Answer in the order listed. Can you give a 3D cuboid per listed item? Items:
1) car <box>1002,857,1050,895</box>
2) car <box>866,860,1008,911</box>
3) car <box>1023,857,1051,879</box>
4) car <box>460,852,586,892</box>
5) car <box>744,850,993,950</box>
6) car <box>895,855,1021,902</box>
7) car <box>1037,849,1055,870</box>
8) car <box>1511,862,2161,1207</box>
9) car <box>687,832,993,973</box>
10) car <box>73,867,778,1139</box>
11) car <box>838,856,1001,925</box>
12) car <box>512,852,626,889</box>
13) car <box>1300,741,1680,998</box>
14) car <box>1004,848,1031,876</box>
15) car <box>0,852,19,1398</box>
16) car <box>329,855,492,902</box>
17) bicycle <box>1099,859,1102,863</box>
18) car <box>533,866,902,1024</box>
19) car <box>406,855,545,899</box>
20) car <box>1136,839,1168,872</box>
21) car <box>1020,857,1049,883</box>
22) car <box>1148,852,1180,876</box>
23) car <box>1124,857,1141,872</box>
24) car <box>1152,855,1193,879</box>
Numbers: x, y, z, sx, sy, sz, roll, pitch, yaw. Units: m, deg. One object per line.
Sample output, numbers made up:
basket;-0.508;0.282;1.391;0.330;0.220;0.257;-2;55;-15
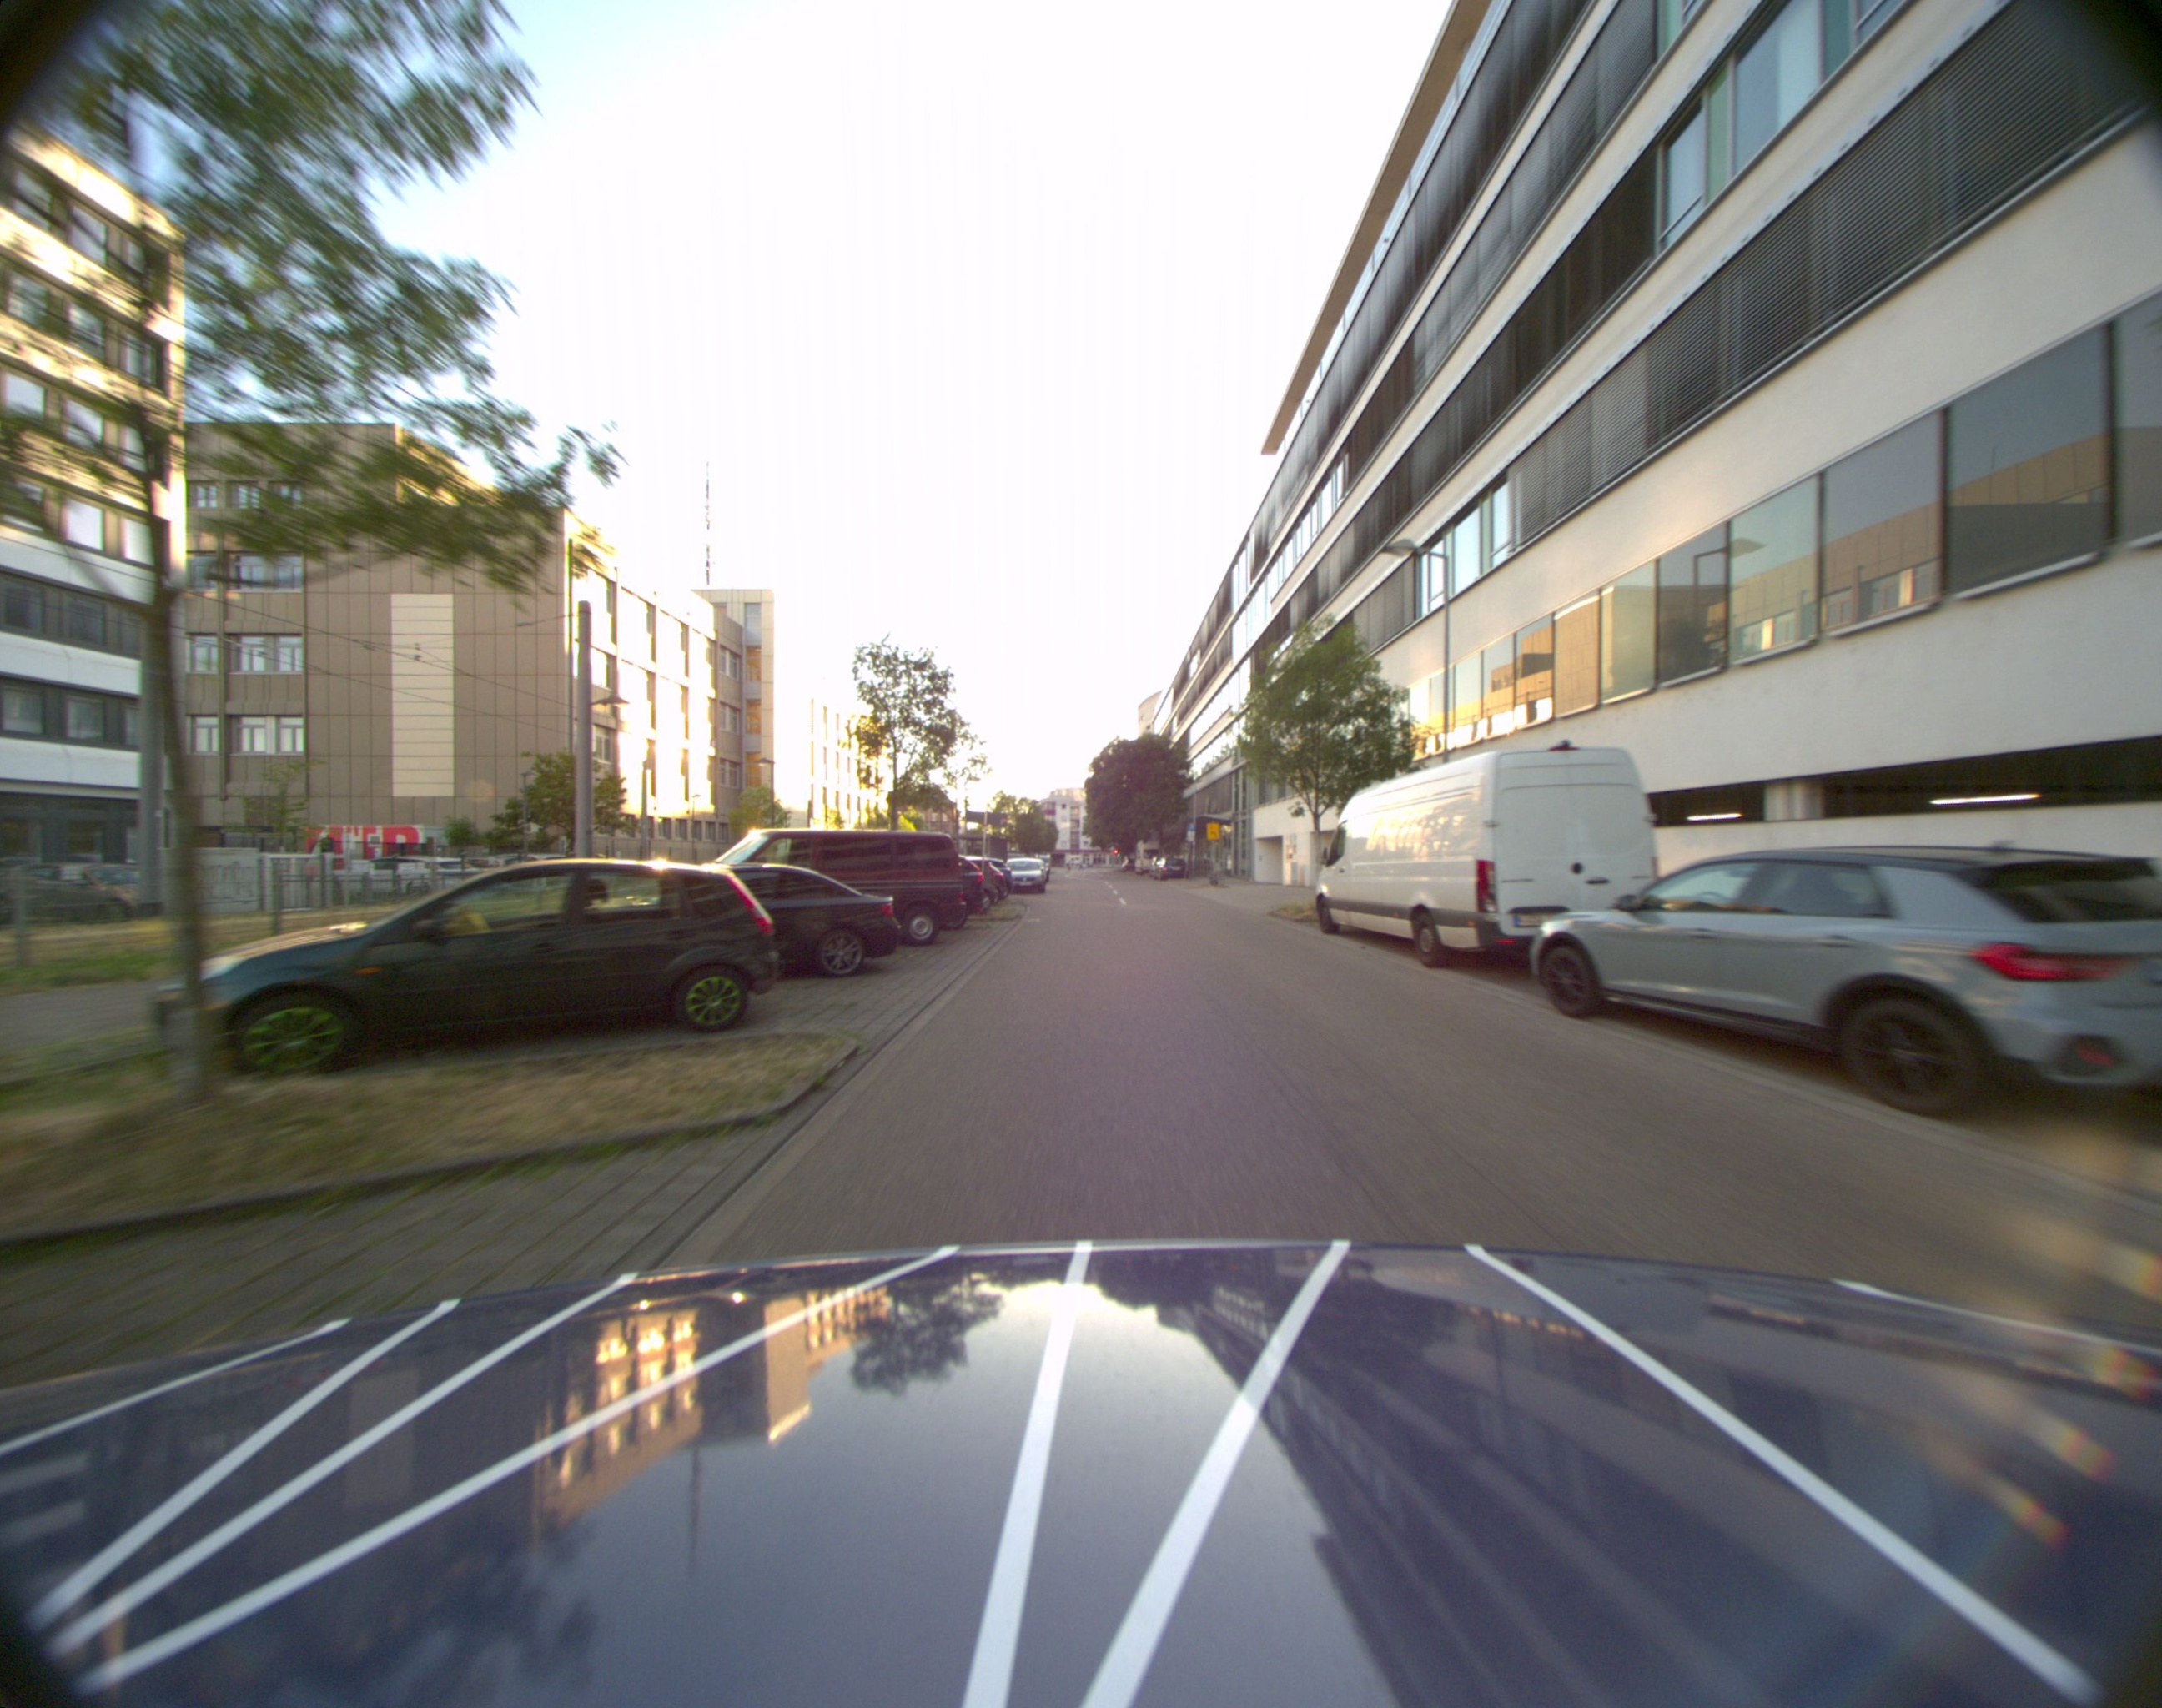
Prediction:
car;-2.448;0.891;33.202;1.737;1.457;3.997;-2;1;-9
car;-4.441;0.917;23.743;4.008;1.456;1.732;0;0;-38
car;-2.907;0.922;50.906;1.792;1.443;4.514;-1;0;-3
car;-23.156;0.738;31.642;3.997;1.478;1.675;2;0;1
car;-4.366;0.852;15.863;4.611;1.738;1.867;-2;0;-33
car;-4.358;0.822;27.111;4.008;1.512;1.922;0;1;-35
car;-4.623;0.732;100.753;2.056;2.641;5.434;3;0;-1
car;5.118;0.810;5.311;1.761;1.431;3.900;-2;-1;-4
car;-4.038;0.686;13.045;4.611;2.023;1.867;-2;0;-33
car;-4.666;0.892;6.133;3.785;1.434;1.759;-1;-1;-35
car;-4.412;0.926;21.025;4.007;1.586;1.732;-3;1;-35
car;-22.979;0.722;34.205;3.997;1.478;1.675;2;0;1
car;5.239;0.198;11.346;1.963;2.601;6.893;-2;-1;1
car;-5.161;0.669;62.281;1.809;2.163;4.735;1;0;0
car;-4.561;0.779;0.519;3.993;1.630;1.968;1;0;-27
car;-23.406;0.849;26.639;3.997;1.504;1.824;2;0;-1
bicycle;4.246;1.531;166.323;0.515;1.040;1.902;0;0;-2
car;-4.318;0.942;9.275;3.785;1.456;1.635;-1;0;-35
car;-23.207;0.859;29.234;3.997;1.478;1.675;2;0;1
car;5.885;0.169;64.026;2.105;2.648;6.952;-1;0;1
car;-2.748;0.934;45.633;1.680;1.443;4.186;-1;0;-3
car;5.789;0.700;53.572;1.848;1.562;4.268;-1;0;0
car;5.846;1.155;86.396;1.594;1.559;4.472;-3;-1;0
car;5.700;0.798;47.745;1.720;1.443;4.398;-1;0;-4
